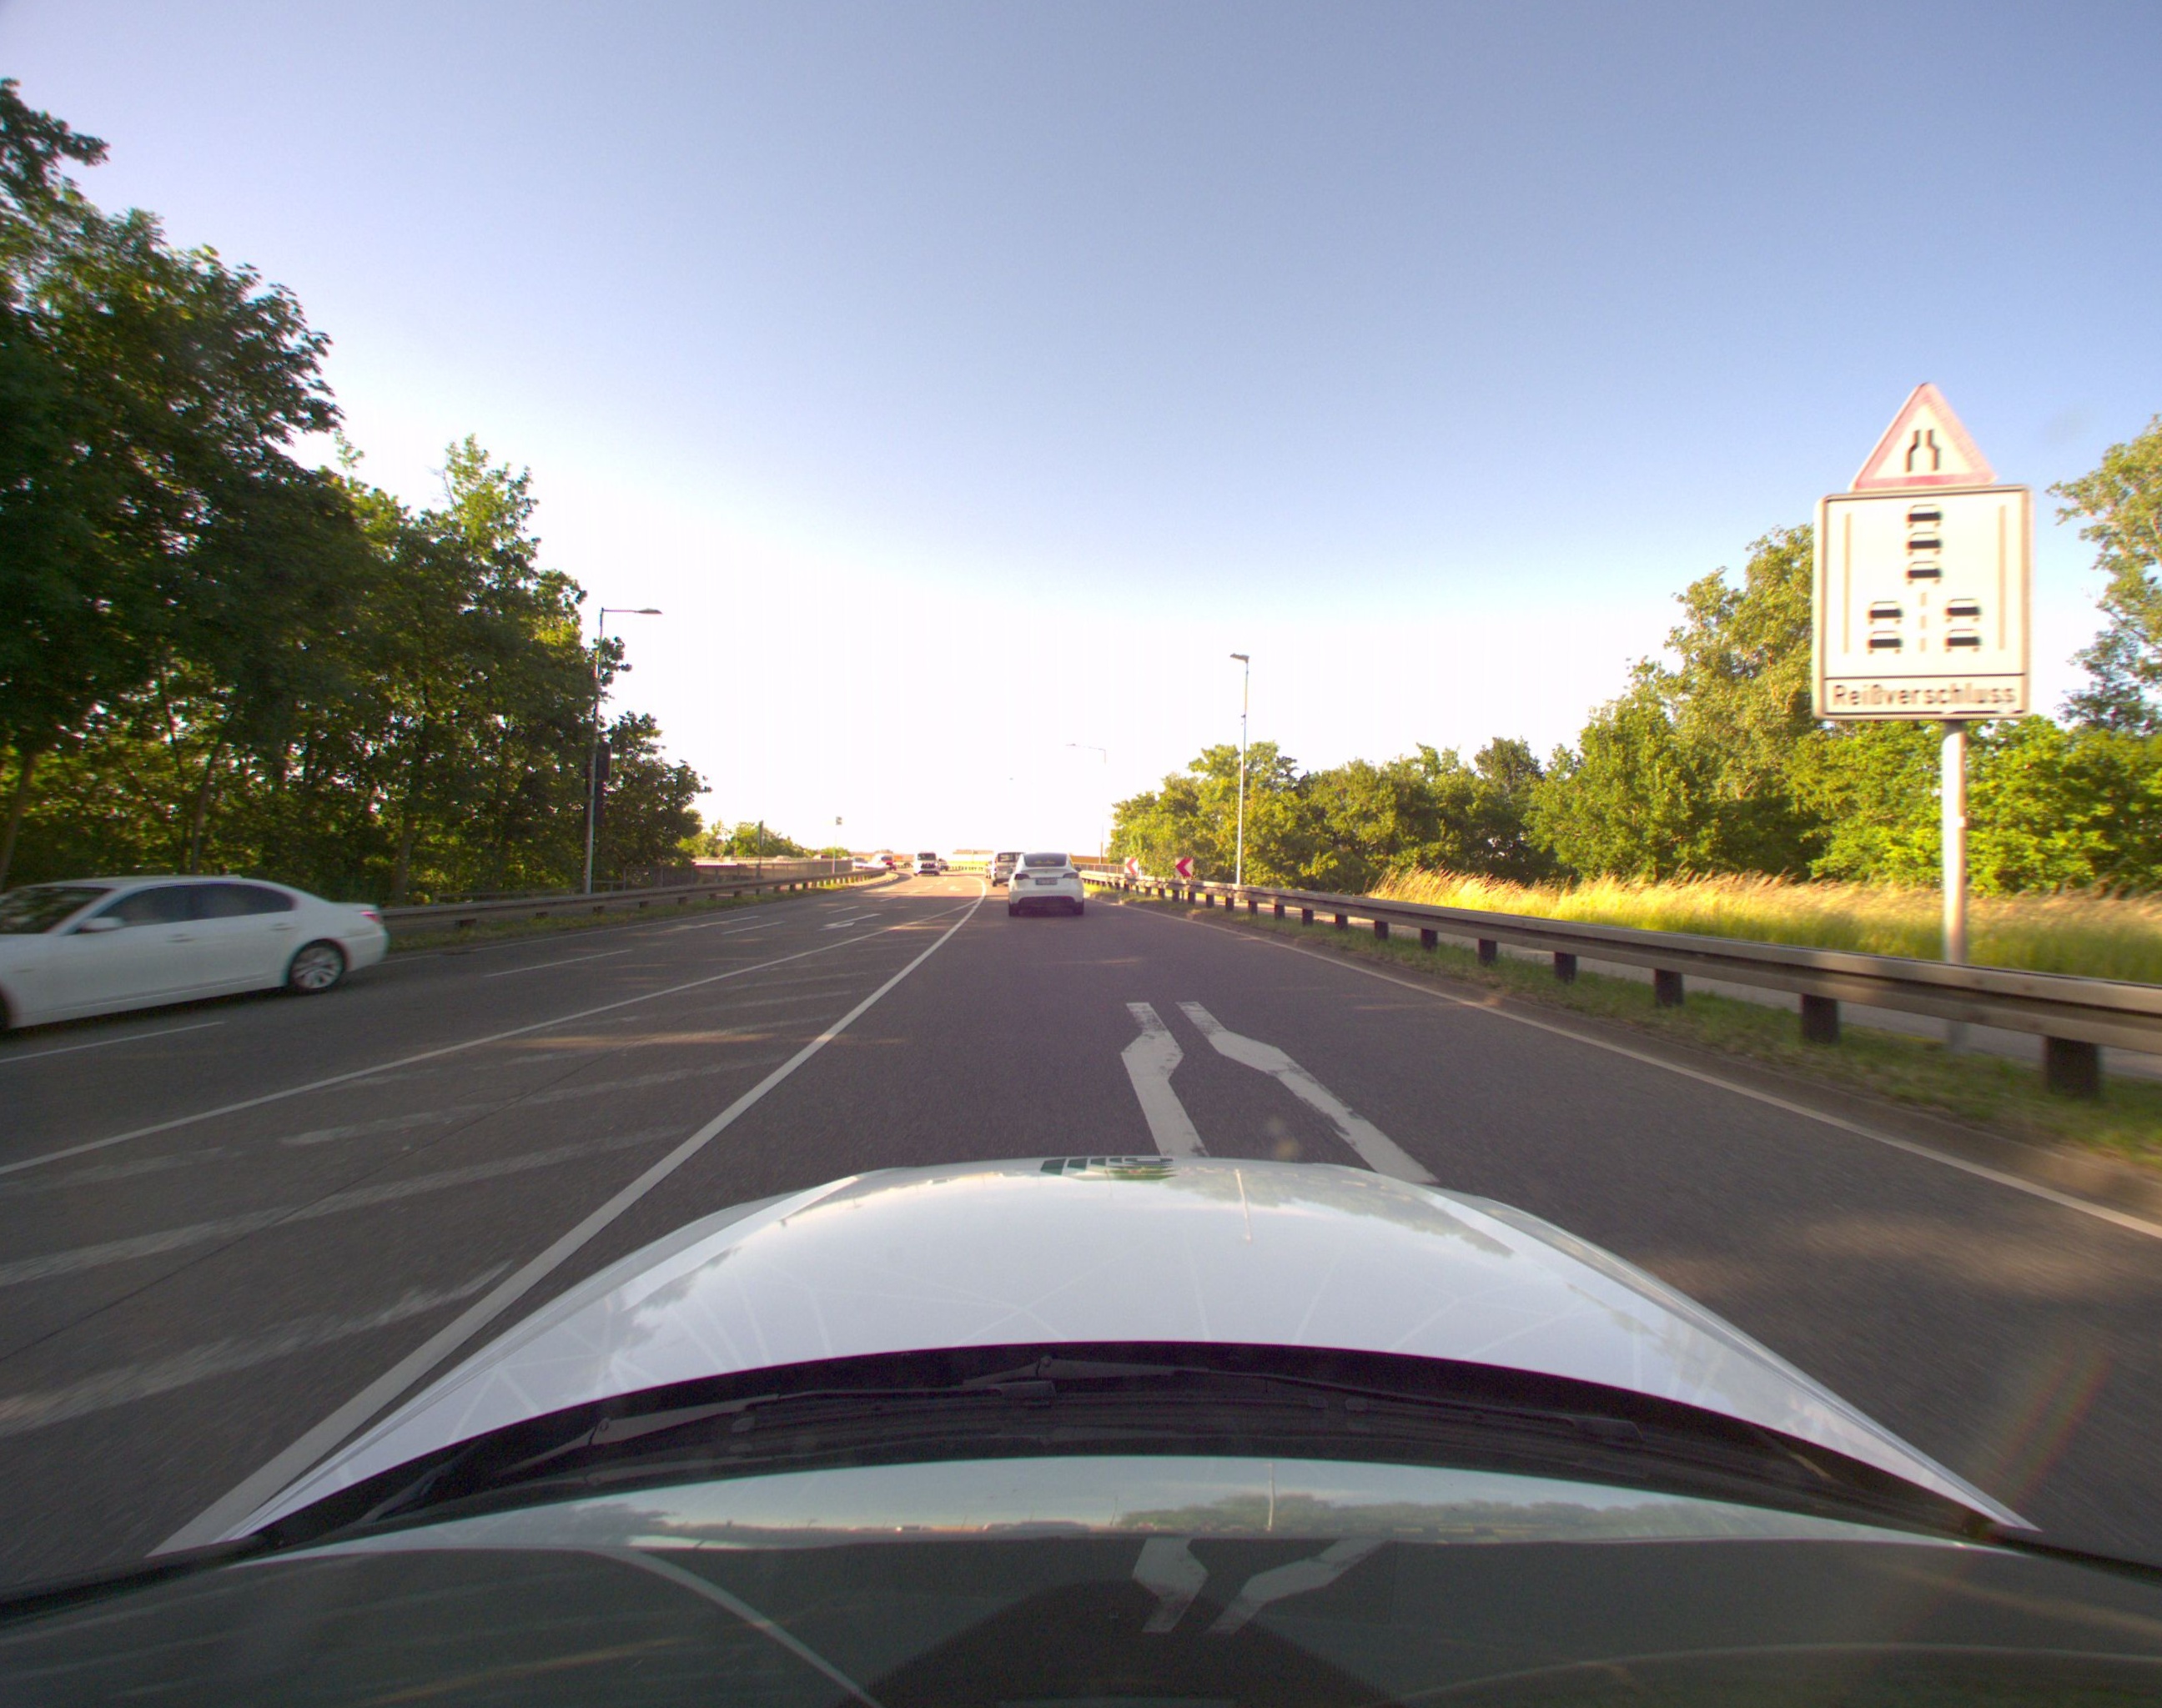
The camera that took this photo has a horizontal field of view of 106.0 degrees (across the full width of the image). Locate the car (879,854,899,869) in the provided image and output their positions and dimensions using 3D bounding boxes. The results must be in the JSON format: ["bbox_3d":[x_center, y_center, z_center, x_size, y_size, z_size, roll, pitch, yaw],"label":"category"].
[{"bbox_3d":[-21.679,0.831,91.959,1.810,1.638,3.974,0,0,-19],"label":"car"}]

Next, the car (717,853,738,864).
[{"bbox_3d":[-64.495,0.864,148.446,3.949,1.950,1.975,0,0,40],"label":"car"}]

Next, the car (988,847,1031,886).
[{"bbox_3d":[-3.827,0.645,43.154,2.004,1.940,4.454,0,0,-8],"label":"car"}]

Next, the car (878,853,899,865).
[{"bbox_3d":[-25.473,0.693,107.656,1.846,1.555,3.858,0,0,-28],"label":"car"}]

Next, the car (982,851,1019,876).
[{"bbox_3d":[-5.724,0.675,57.390,1.972,1.638,3.979,-1,0,-15],"label":"car"}]

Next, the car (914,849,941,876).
[{"bbox_3d":[-12.585,0.682,66.634,1.951,2.112,5.247,-1,0,-13],"label":"car"}]

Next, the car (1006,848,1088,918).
[{"bbox_3d":[-0.994,0.702,21.872,1.982,1.638,4.055,-1,0,-5],"label":"car"}]

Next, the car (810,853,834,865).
[{"bbox_3d":[-40.888,0.767,128.571,1.974,1.950,3.951,0,0,-44],"label":"car"}]

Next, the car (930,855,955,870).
[{"bbox_3d":[-15.079,0.912,88.614,2.000,1.539,3.973,0,0,-20],"label":"car"}]

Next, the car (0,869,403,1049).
[{"bbox_3d":[-10.089,0.941,8.503,1.838,1.487,4.637,0,0,6],"label":"car"}]
